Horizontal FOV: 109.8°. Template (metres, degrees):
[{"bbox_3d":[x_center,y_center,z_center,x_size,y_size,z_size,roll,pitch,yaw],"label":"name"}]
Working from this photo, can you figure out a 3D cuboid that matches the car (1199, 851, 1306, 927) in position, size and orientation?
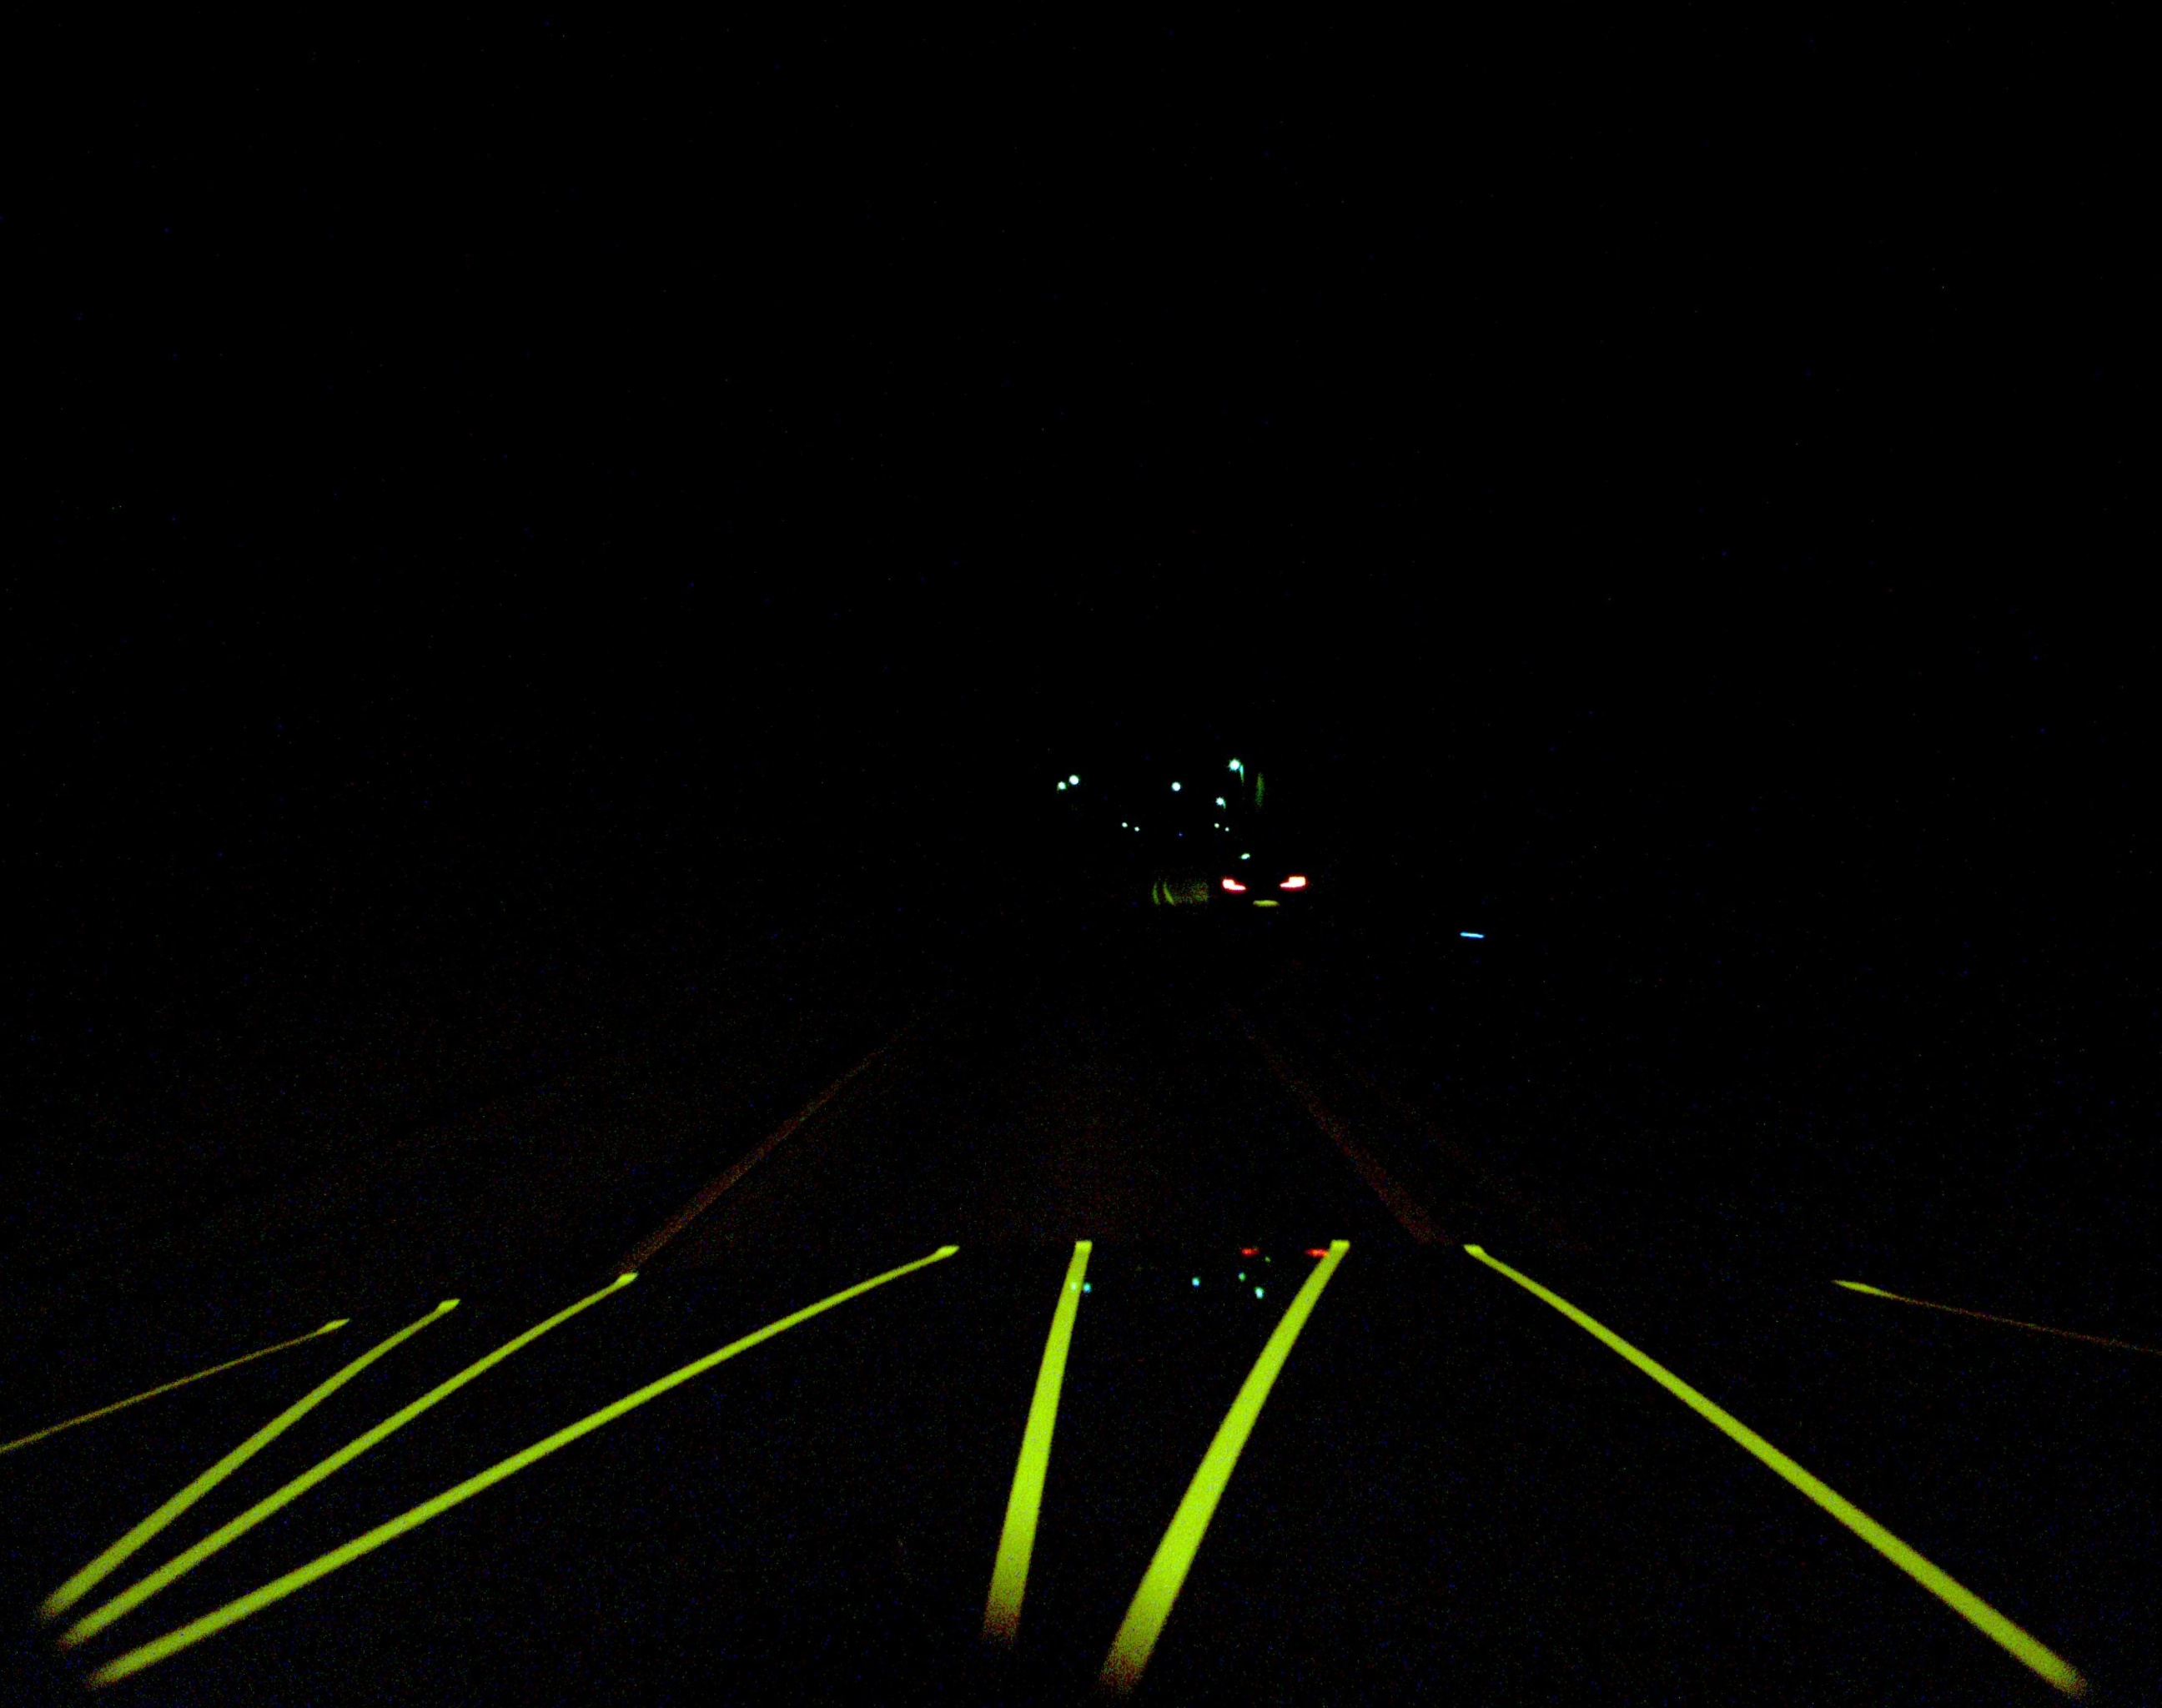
[{"bbox_3d":[3.825,0.700,17.648,1.720,1.434,4.394,-3,0,4],"label":"car"}]
